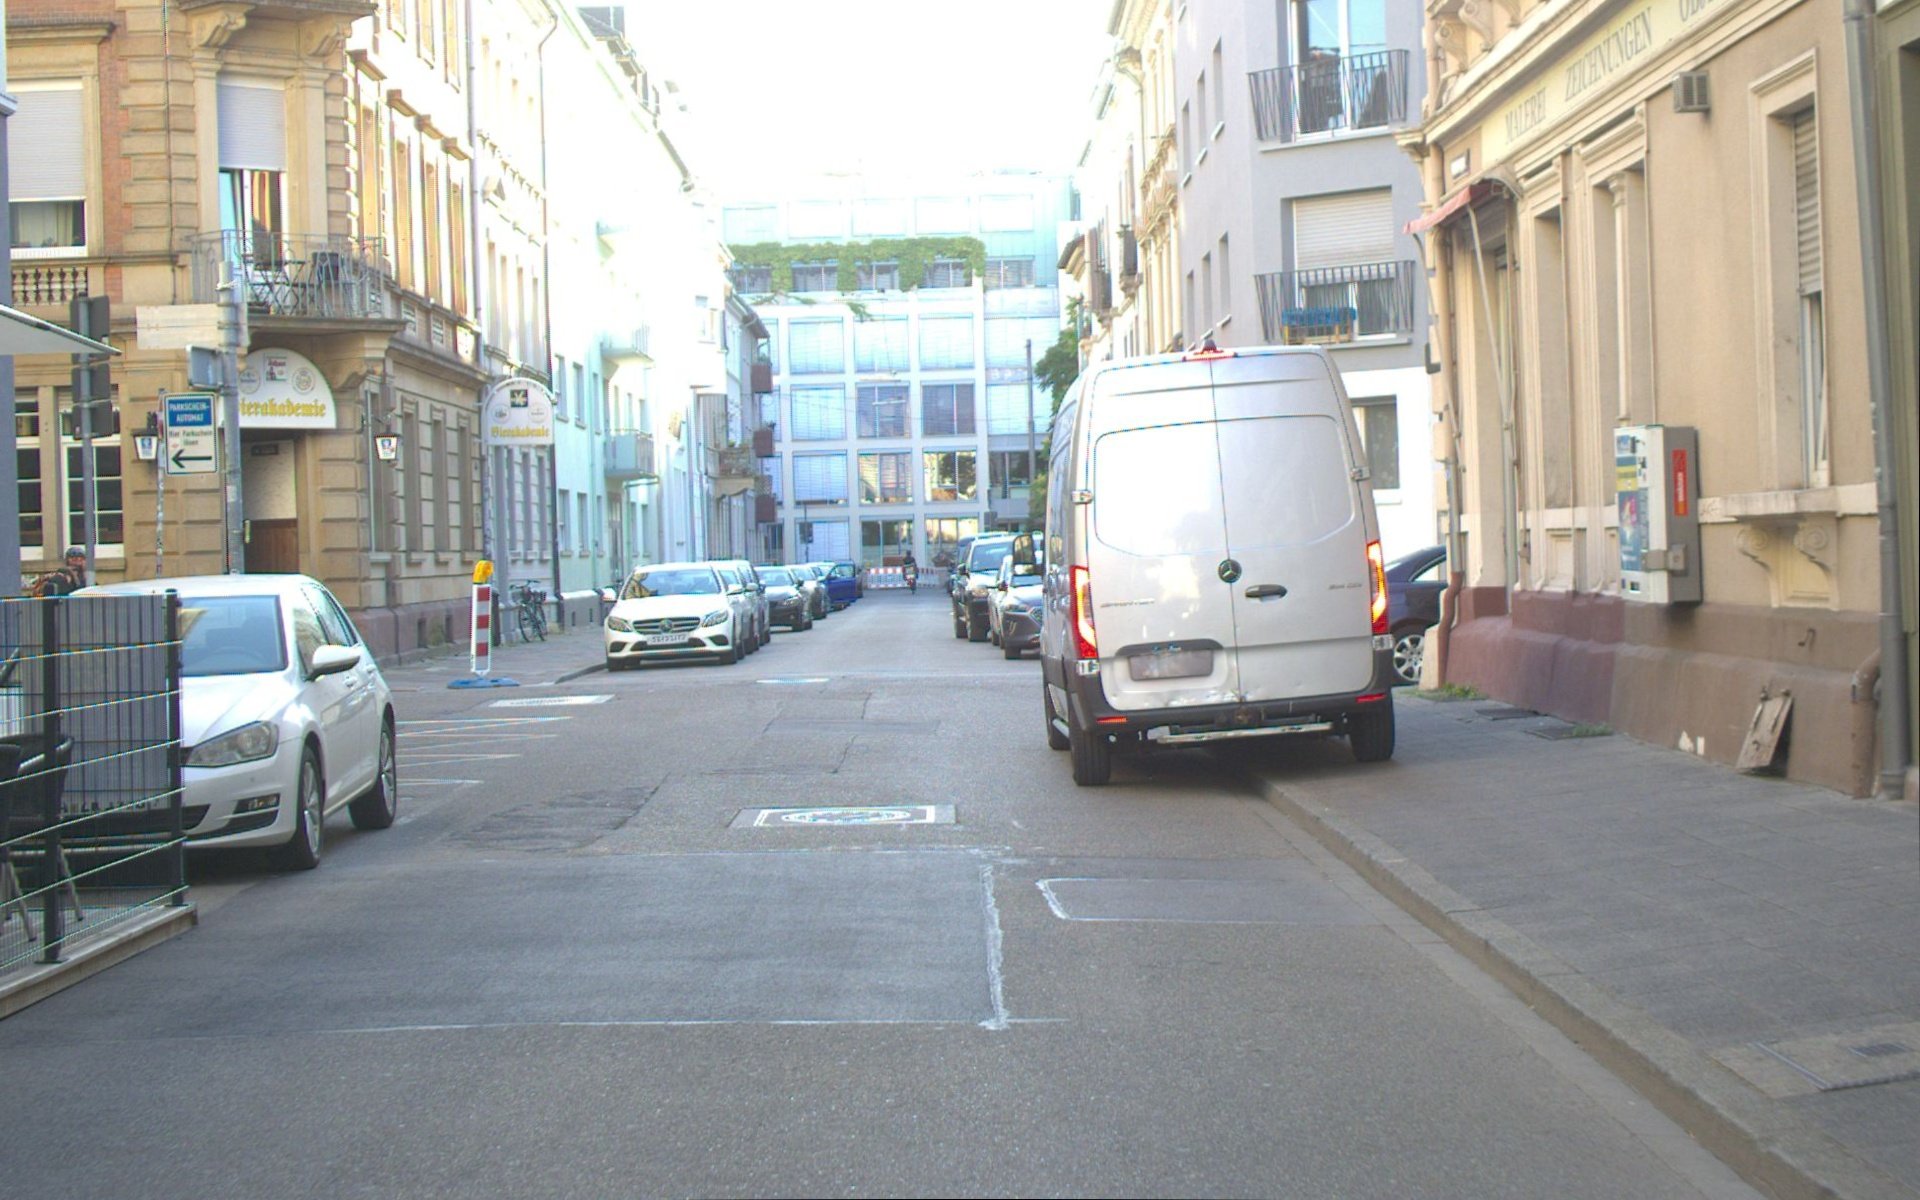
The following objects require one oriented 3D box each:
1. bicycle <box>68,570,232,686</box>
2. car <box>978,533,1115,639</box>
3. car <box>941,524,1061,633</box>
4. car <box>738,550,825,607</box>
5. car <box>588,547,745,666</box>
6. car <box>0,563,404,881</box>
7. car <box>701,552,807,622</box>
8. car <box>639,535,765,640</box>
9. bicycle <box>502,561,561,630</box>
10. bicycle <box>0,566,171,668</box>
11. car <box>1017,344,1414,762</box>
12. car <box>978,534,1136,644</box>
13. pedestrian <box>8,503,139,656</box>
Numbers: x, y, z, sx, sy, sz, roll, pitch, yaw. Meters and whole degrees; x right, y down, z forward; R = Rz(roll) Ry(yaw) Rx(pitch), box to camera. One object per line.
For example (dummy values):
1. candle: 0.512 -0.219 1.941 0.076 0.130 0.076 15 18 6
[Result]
1. bicycle: -9.582 0.328 40.727 1.757 1.270 0.661 -2 4 -4
2. car: 1.331 -0.243 54.258 1.963 1.552 3.889 -2 1 -1
3. car: 0.674 -0.397 59.544 1.893 1.778 4.000 -2 1 -1
4. car: -4.662 -0.580 89.953 2.172 1.413 4.001 -2 1 -3
5. car: -4.149 0.052 49.224 1.993 1.559 4.507 -2 1 -2
6. car: -3.984 0.544 17.689 1.657 1.409 3.883 -2 1 -1
7. car: -4.293 -0.289 72.182 1.993 1.350 4.429 -2 1 -1
8. car: -4.086 -0.222 54.922 1.625 1.571 3.754 -2 1 1
9. bicycle: -7.556 -0.096 60.659 0.737 1.156 2.461 -1 1 -1
10. bicycle: -9.230 0.179 35.586 1.975 1.004 0.540 -2 1 2
11. car: 1.577 -0.340 23.632 2.277 2.431 6.203 -2 1 1
12. car: 1.319 -0.178 48.187 1.938 1.367 3.789 -3 1 -1
13. pedestrian: -9.180 -0.221 35.615 1.079 1.540 0.832 -2 1 2
